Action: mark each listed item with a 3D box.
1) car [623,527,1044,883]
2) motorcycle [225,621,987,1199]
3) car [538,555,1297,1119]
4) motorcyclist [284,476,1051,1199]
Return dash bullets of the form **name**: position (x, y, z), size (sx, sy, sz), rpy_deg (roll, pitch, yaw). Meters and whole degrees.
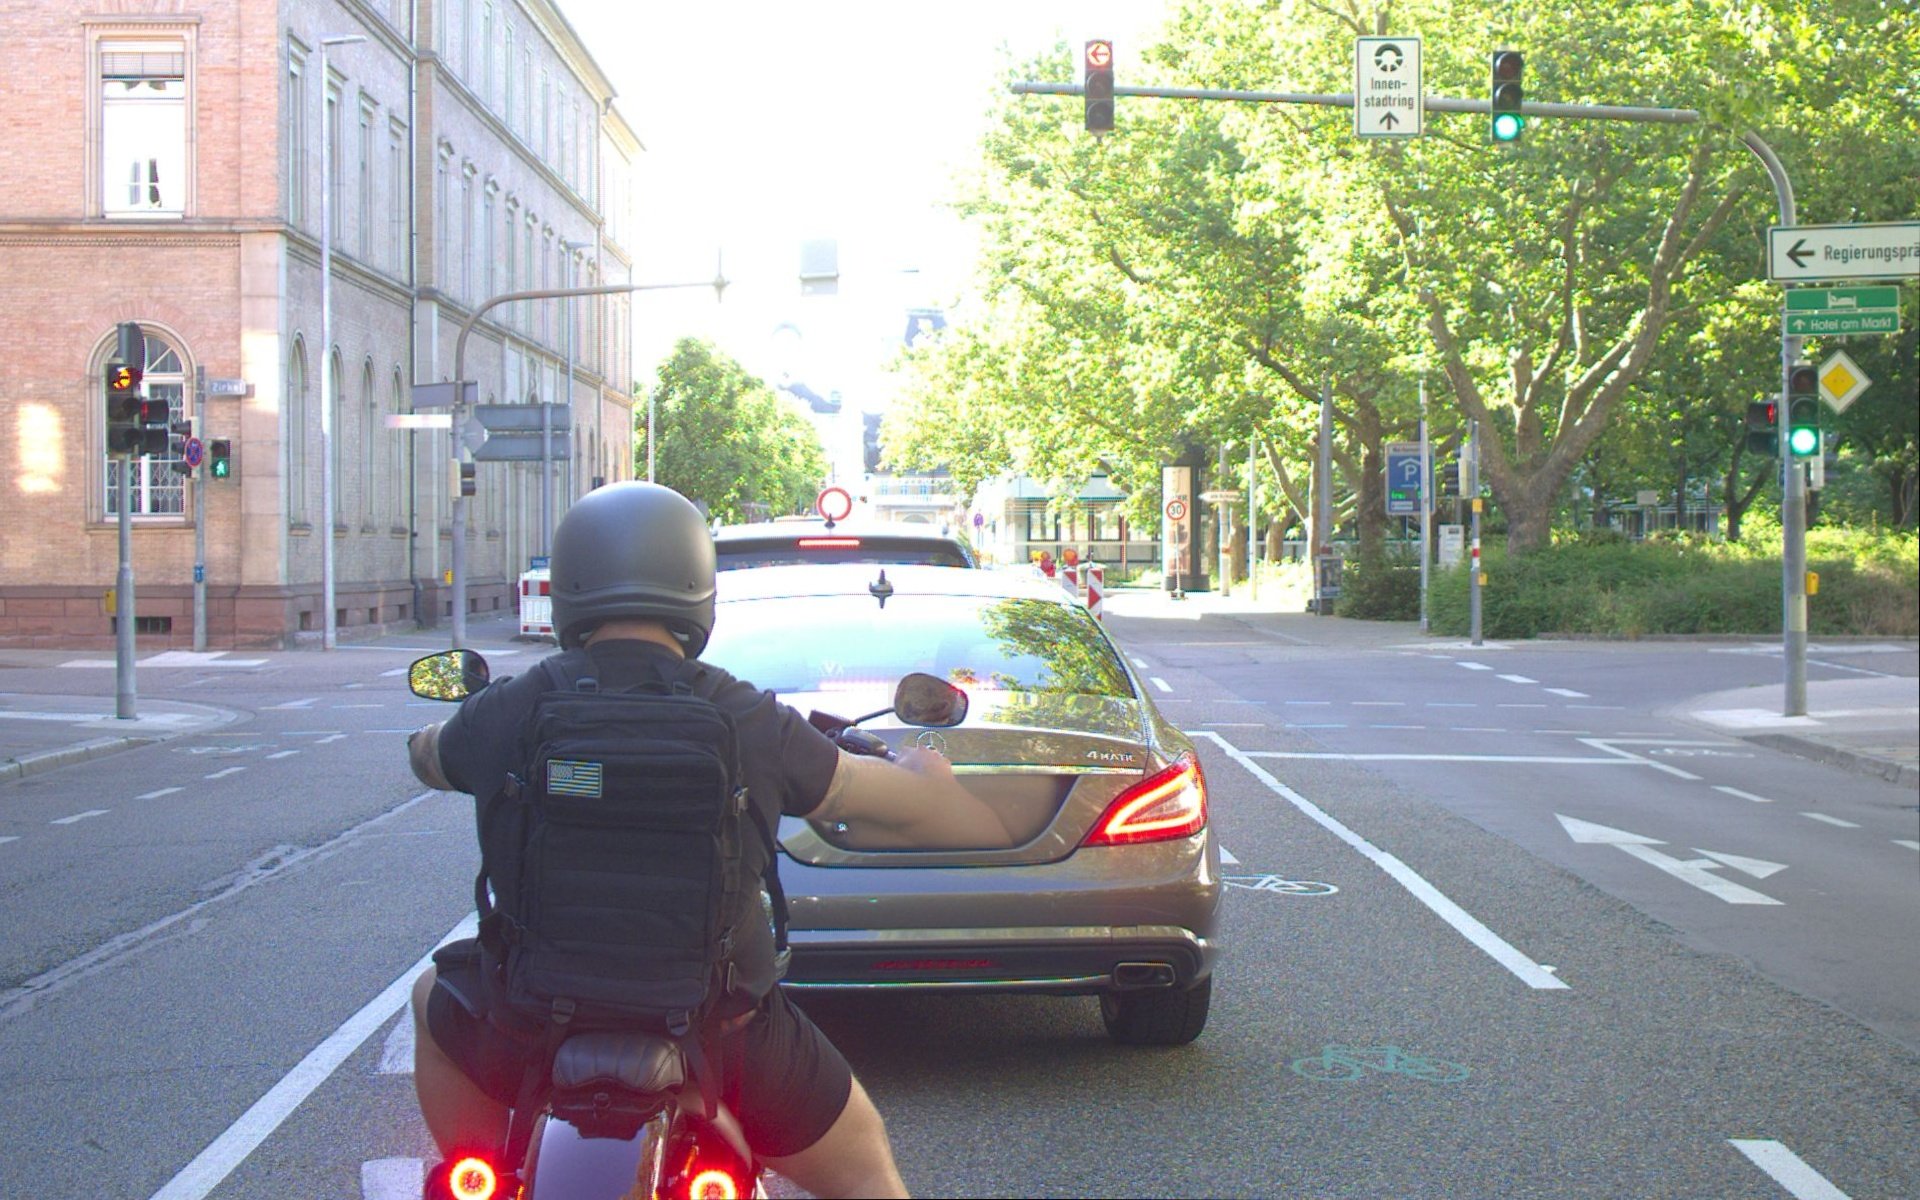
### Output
- **car**: position (-0.650, 0.416, 16.775), size (1.813, 1.530, 3.849), rpy_deg (0, 1, -3)
- **motorcycle**: position (-0.469, 0.736, 5.544), size (0.962, 1.352, 2.320), rpy_deg (1, 1, -1)
- **car**: position (-0.356, 0.584, 11.146), size (1.901, 1.436, 4.290), rpy_deg (0, 1, -8)
- **motorcyclist**: position (-0.419, 0.618, 5.273), size (1.061, 1.577, 0.908), rpy_deg (1, 0, -1)
